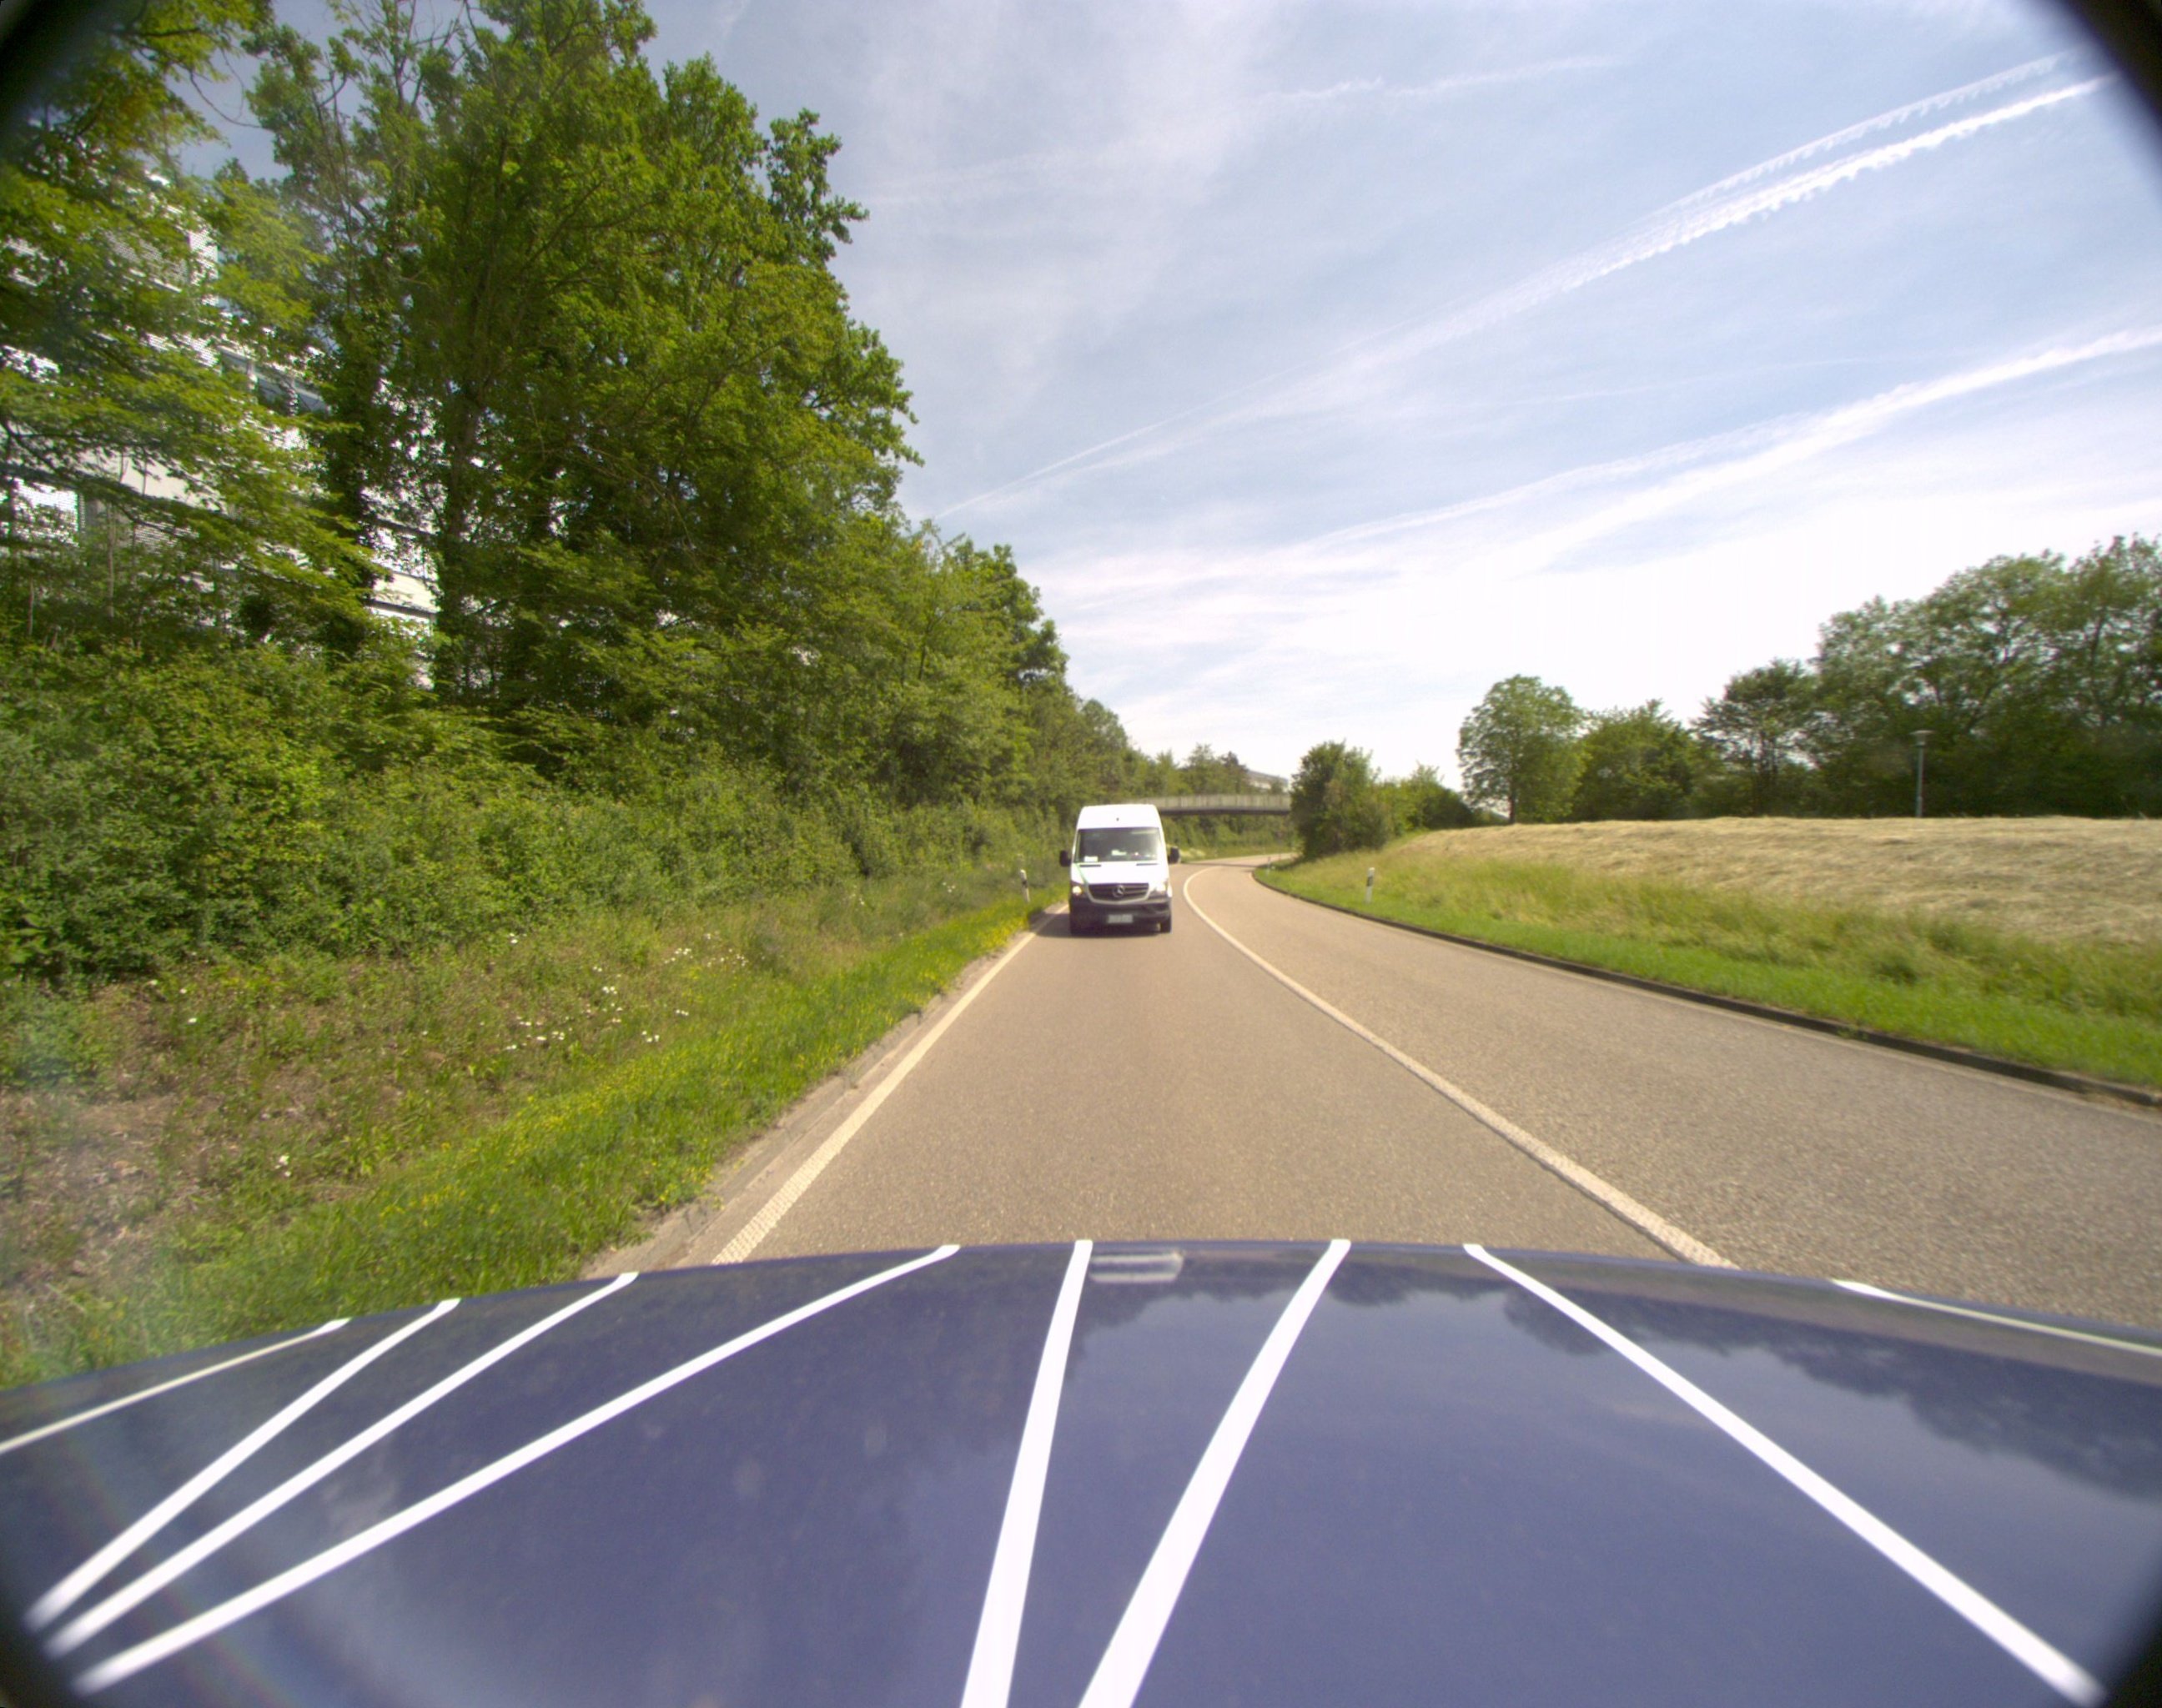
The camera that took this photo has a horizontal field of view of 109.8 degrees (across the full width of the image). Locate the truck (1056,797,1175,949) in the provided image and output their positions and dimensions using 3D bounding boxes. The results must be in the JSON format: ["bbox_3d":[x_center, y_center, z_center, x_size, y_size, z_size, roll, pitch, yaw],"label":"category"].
[{"bbox_3d":[0.849,0.320,15.840,1.998,2.571,5.889,-1,0,5],"label":"truck"}]

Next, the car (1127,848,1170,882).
[{"bbox_3d":[3.670,0.523,40.665,1.847,1.698,4.092,0,1,11],"label":"car"}]
